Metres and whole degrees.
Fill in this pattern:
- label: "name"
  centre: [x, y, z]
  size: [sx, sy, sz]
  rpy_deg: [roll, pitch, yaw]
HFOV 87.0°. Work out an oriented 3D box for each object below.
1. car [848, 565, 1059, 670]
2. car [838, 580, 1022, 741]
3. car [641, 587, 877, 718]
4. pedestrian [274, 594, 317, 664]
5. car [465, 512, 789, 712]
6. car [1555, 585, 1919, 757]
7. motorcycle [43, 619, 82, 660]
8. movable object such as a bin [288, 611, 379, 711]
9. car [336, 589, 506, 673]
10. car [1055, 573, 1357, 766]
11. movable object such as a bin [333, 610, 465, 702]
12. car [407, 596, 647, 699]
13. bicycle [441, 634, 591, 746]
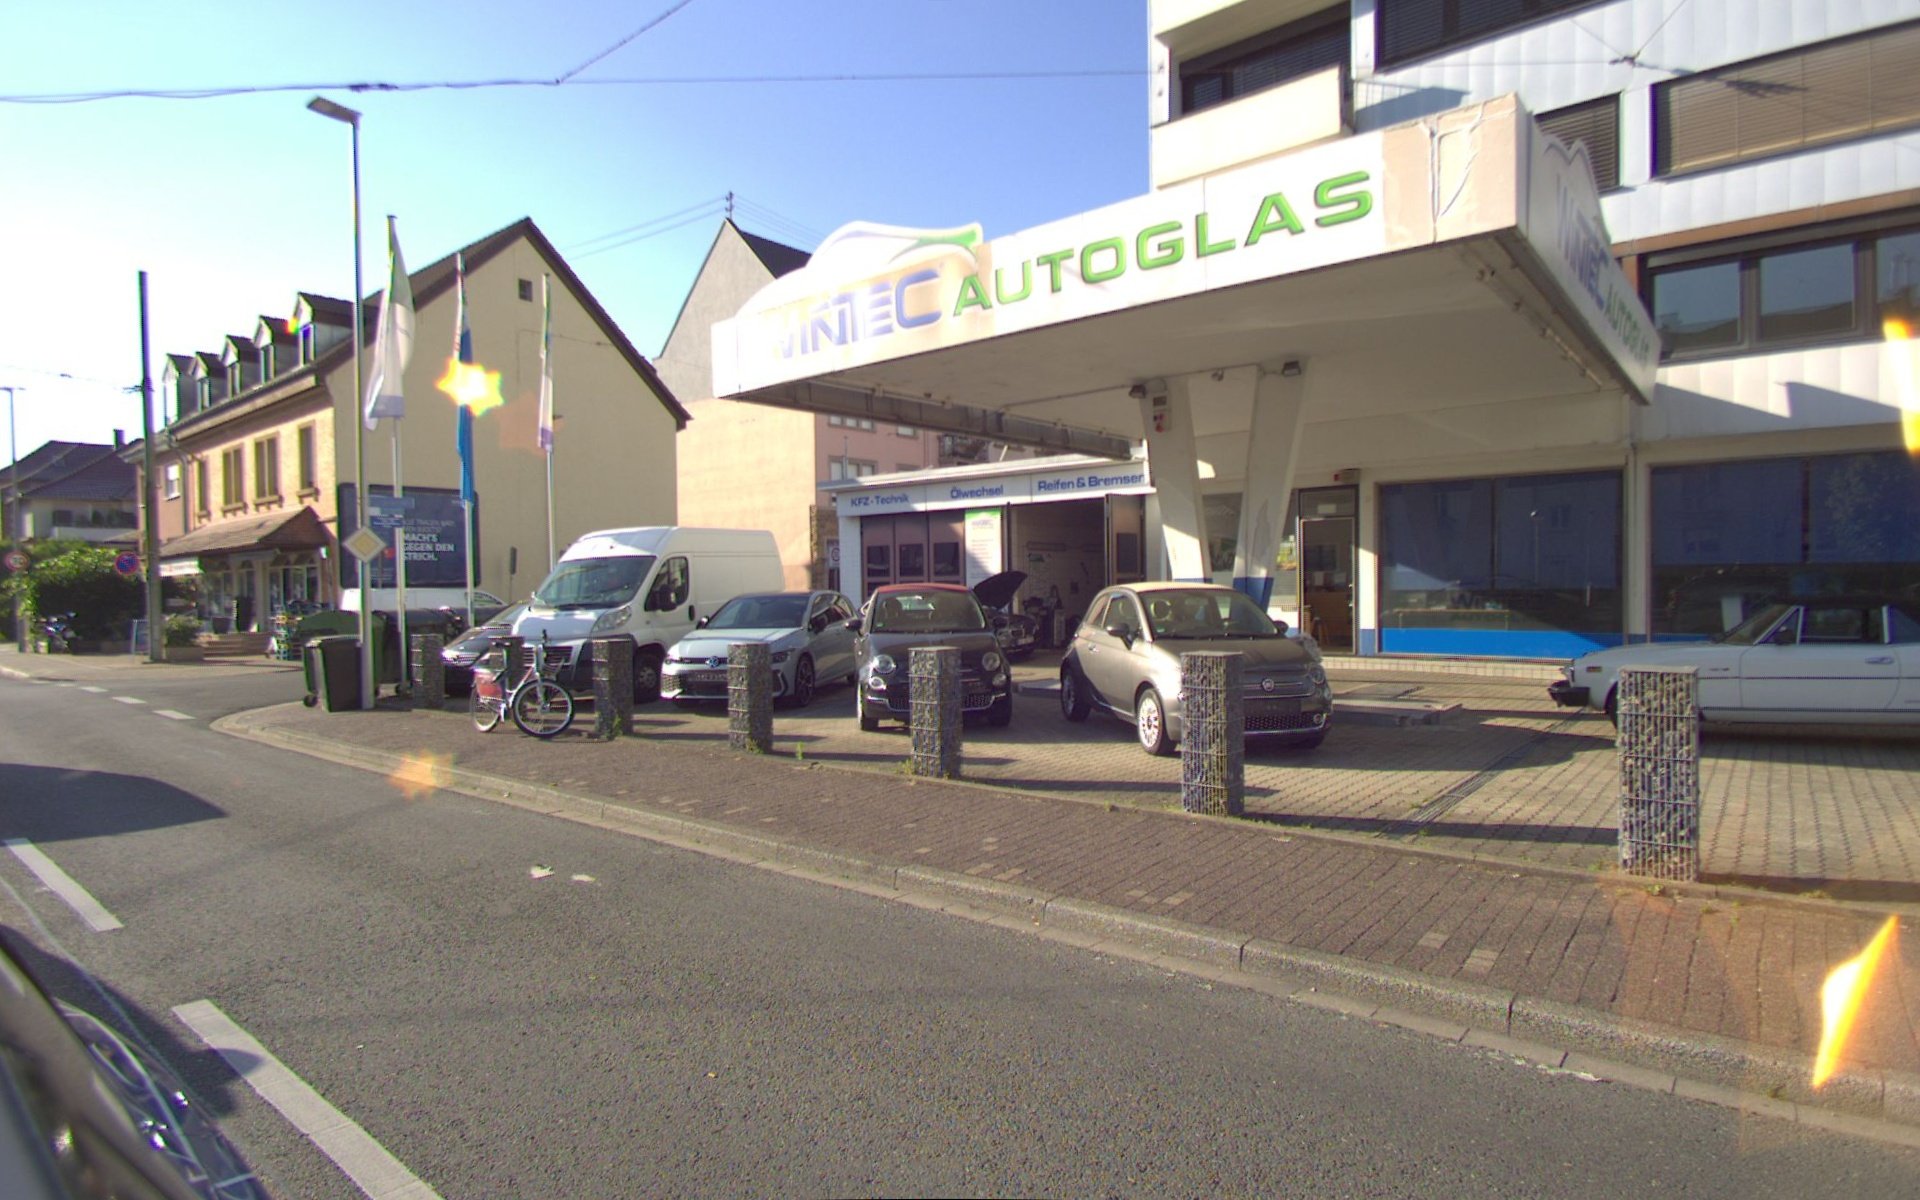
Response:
- label: "car"
  centre: [-0.206, 0.328, 20.919]
  size: [4.255, 1.958, 1.720]
  rpy_deg: [-1, 0, 40]
- label: "car"
  centre: [-0.483, 0.570, 11.507]
  size: [1.569, 1.508, 3.443]
  rpy_deg: [-1, 0, -10]
- label: "car"
  centre: [-2.531, 0.594, 13.803]
  size: [1.725, 1.508, 4.016]
  rpy_deg: [-1, 0, 12]
- label: "pedestrian"
  centre: [-18.037, 0.766, 27.479]
  size: [0.822, 1.866, 0.757]
  rpy_deg: [-1, 0, 39]
- label: "car"
  centre: [-4.687, 0.138, 15.222]
  size: [2.098, 2.472, 4.963]
  rpy_deg: [-1, 0, 18]
- label: "car"
  centre: [7.386, 0.547, 8.570]
  size: [3.898, 1.308, 1.506]
  rpy_deg: [-1, -1, 37]
- label: "motorcycle"
  centre: [-27.967, 1.214, 31.527]
  size: [2.186, 1.226, 0.699]
  rpy_deg: [-1, 0, 43]
- label: "movable object such as a bin"
  centre: [-9.706, 0.924, 15.712]
  size: [1.030, 1.475, 0.798]
  rpy_deg: [-1, 0, -18]
- label: "car"
  centre: [-13.893, 0.747, 26.251]
  size: [1.449, 2.029, 3.628]
  rpy_deg: [-1, 0, 37]
- label: "car"
  centre: [2.154, 0.540, 9.793]
  size: [1.517, 1.497, 3.381]
  rpy_deg: [-1, 0, -11]
- label: "movable object such as a bin"
  centre: [-9.576, 0.922, 17.368]
  size: [1.039, 1.475, 1.787]
  rpy_deg: [-1, 0, 15]
- label: "car"
  centre: [-7.062, 0.710, 17.007]
  size: [1.725, 1.488, 4.016]
  rpy_deg: [-1, 0, 12]
- label: "bicycle"
  centre: [-4.895, 0.947, 11.121]
  size: [1.789, 1.094, 0.716]
  rpy_deg: [-1, 1, 37]
